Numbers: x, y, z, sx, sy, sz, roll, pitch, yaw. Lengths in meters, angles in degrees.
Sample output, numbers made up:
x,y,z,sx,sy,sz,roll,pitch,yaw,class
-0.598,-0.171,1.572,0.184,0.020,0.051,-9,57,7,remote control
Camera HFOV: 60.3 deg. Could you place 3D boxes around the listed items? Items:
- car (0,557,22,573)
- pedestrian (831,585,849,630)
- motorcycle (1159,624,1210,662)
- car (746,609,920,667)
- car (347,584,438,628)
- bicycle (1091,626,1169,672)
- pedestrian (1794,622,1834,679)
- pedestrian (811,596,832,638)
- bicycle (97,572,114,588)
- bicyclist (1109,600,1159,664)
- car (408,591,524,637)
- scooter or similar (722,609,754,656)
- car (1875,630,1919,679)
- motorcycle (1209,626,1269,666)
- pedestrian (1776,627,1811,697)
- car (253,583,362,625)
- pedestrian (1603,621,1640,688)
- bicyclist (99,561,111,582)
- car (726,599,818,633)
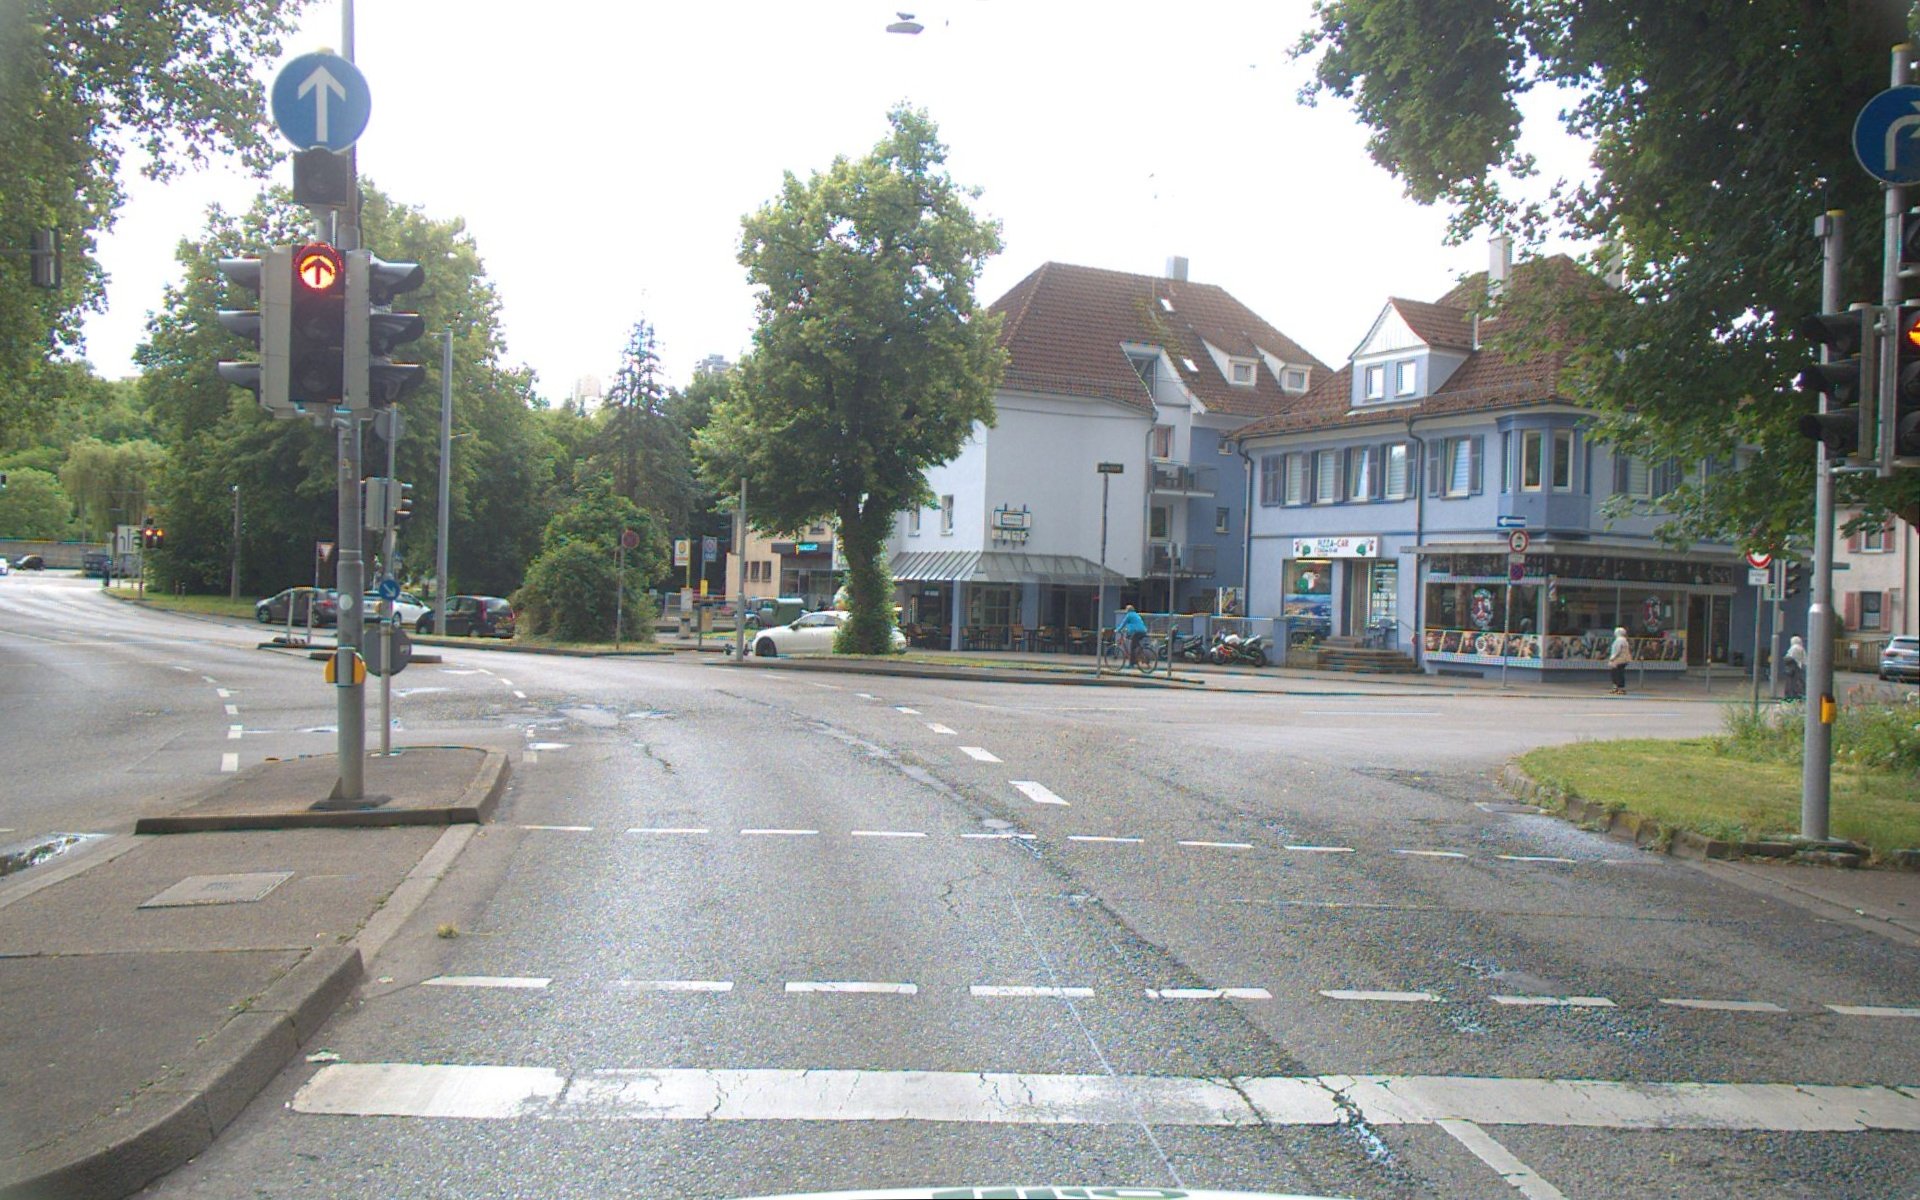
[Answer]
x,y,z,sx,sy,sz,roll,pitch,yaw,class
-88.643,-3.262,153.782,2.971,1.442,1.491,0,-2,41,car
-4.295,0.273,59.169,0.531,1.587,0.468,0,-1,13,pedestrian
6.815,1.288,50.208,1.430,1.107,0.522,1,0,35,motorcycle
-3.531,1.021,45.681,4.618,1.435,1.896,1,0,35,car
-22.731,0.257,66.402,1.821,1.668,3.757,1,0,10,car
4.589,1.303,44.773,1.915,1.169,0.872,1,0,39,bicycle
23.924,1.407,46.347,0.659,1.587,0.743,1,-1,-15,pedestrian
-6.765,0.823,80.715,0.823,2.049,1.052,1,0,-15,pedestrian
-55.839,-1.296,108.117,0.547,0.975,2.024,1,0,-15,bicycle
4.705,0.864,44.698,0.969,1.680,0.914,1,0,38,bicyclist
-15.912,0.446,53.261,3.252,1.376,1.778,1,0,27,car
-5.700,0.829,42.507,0.433,1.195,1.439,1,0,8,scooter or similar
29.699,1.689,51.687,1.849,1.415,3.608,1,0,28,car
8.169,1.339,48.458,1.595,1.107,0.625,1,0,32,motorcycle
19.334,1.423,38.357,0.681,1.587,0.665,0,-1,30,pedestrian
-25.006,0.151,63.420,3.695,1.491,1.622,1,0,18,car
15.957,1.302,39.897,0.717,1.587,0.767,0,-1,30,pedestrian
-55.803,-1.845,107.993,0.531,1.365,0.711,1,0,-16,bicyclist
-8.579,0.731,75.478,3.880,1.467,1.742,1,0,-21,car
